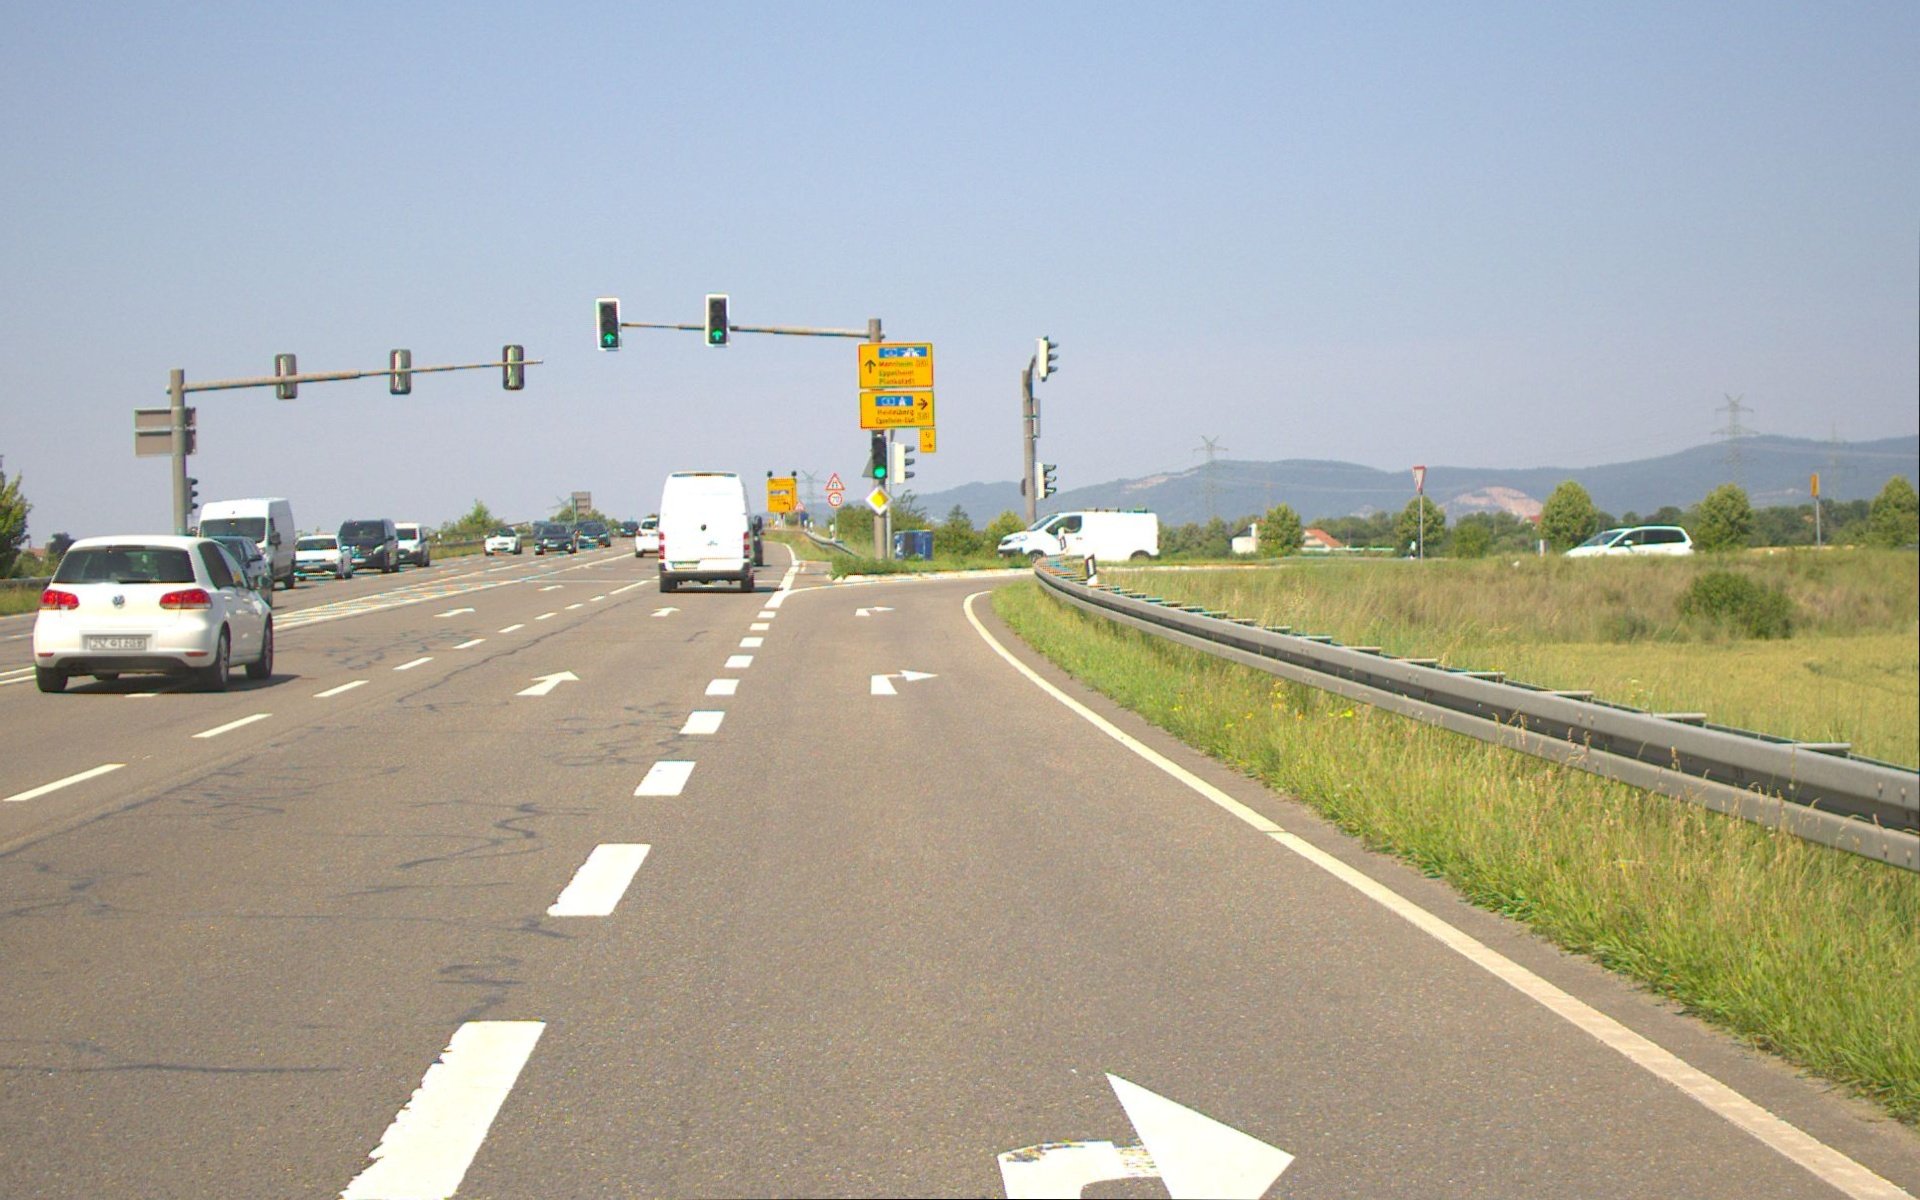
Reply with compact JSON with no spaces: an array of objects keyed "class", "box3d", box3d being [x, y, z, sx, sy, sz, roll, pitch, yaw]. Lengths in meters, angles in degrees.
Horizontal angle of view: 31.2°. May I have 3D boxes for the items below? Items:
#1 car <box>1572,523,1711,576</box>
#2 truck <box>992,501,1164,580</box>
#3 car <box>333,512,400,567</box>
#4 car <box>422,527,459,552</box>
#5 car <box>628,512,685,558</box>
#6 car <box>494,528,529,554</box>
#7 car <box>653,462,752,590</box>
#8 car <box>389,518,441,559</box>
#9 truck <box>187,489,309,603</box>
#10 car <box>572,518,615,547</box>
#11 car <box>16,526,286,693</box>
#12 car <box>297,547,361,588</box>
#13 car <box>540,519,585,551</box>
[{"class":"car","box3d":[22.028,-1.619,111.172,3.986,1.678,2.000,0,0,-26]},{"class":"truck","box3d":[3.585,-1.794,104.575,4.842,2.312,2.001,0,0,-17]},{"class":"car","box3d":[-20.954,-2.123,121.484,1.873,1.881,3.333,0,0,-1]},{"class":"car","box3d":[-27.107,-3.142,179.396,1.462,1.269,3.333,0,0,-1]},{"class":"car","box3d":[-11.964,-2.547,135.618,1.993,1.697,4.275,0,0,-2]},{"class":"car","box3d":[-23.642,-3.105,181.427,1.462,1.269,3.333,0,0,-1]},{"class":"car","box3d":[-5.575,-1.583,74.829,1.993,2.686,4.970,0,1,-3]},{"class":"car","box3d":[-21.627,-2.442,136.597,1.602,1.576,3.333,0,0,-1]},{"class":"truck","box3d":[-19.084,-1.413,92.369,2.297,2.947,5.283,0,0,-1]},{"class":"car","box3d":[-21.244,-3.919,199.479,1.993,1.612,4.000,0,0,1]},{"class":"car","box3d":[-7.784,0.043,33.434,1.799,1.503,4.197,-1,1,-3]},{"class":"car","box3d":[-19.845,-1.006,108.130,1.462,1.269,3.333,0,0,-1]},{"class":"car","box3d":[-19.253,-3.157,166.657,1.635,1.481,4.000,0,0,1]}]
